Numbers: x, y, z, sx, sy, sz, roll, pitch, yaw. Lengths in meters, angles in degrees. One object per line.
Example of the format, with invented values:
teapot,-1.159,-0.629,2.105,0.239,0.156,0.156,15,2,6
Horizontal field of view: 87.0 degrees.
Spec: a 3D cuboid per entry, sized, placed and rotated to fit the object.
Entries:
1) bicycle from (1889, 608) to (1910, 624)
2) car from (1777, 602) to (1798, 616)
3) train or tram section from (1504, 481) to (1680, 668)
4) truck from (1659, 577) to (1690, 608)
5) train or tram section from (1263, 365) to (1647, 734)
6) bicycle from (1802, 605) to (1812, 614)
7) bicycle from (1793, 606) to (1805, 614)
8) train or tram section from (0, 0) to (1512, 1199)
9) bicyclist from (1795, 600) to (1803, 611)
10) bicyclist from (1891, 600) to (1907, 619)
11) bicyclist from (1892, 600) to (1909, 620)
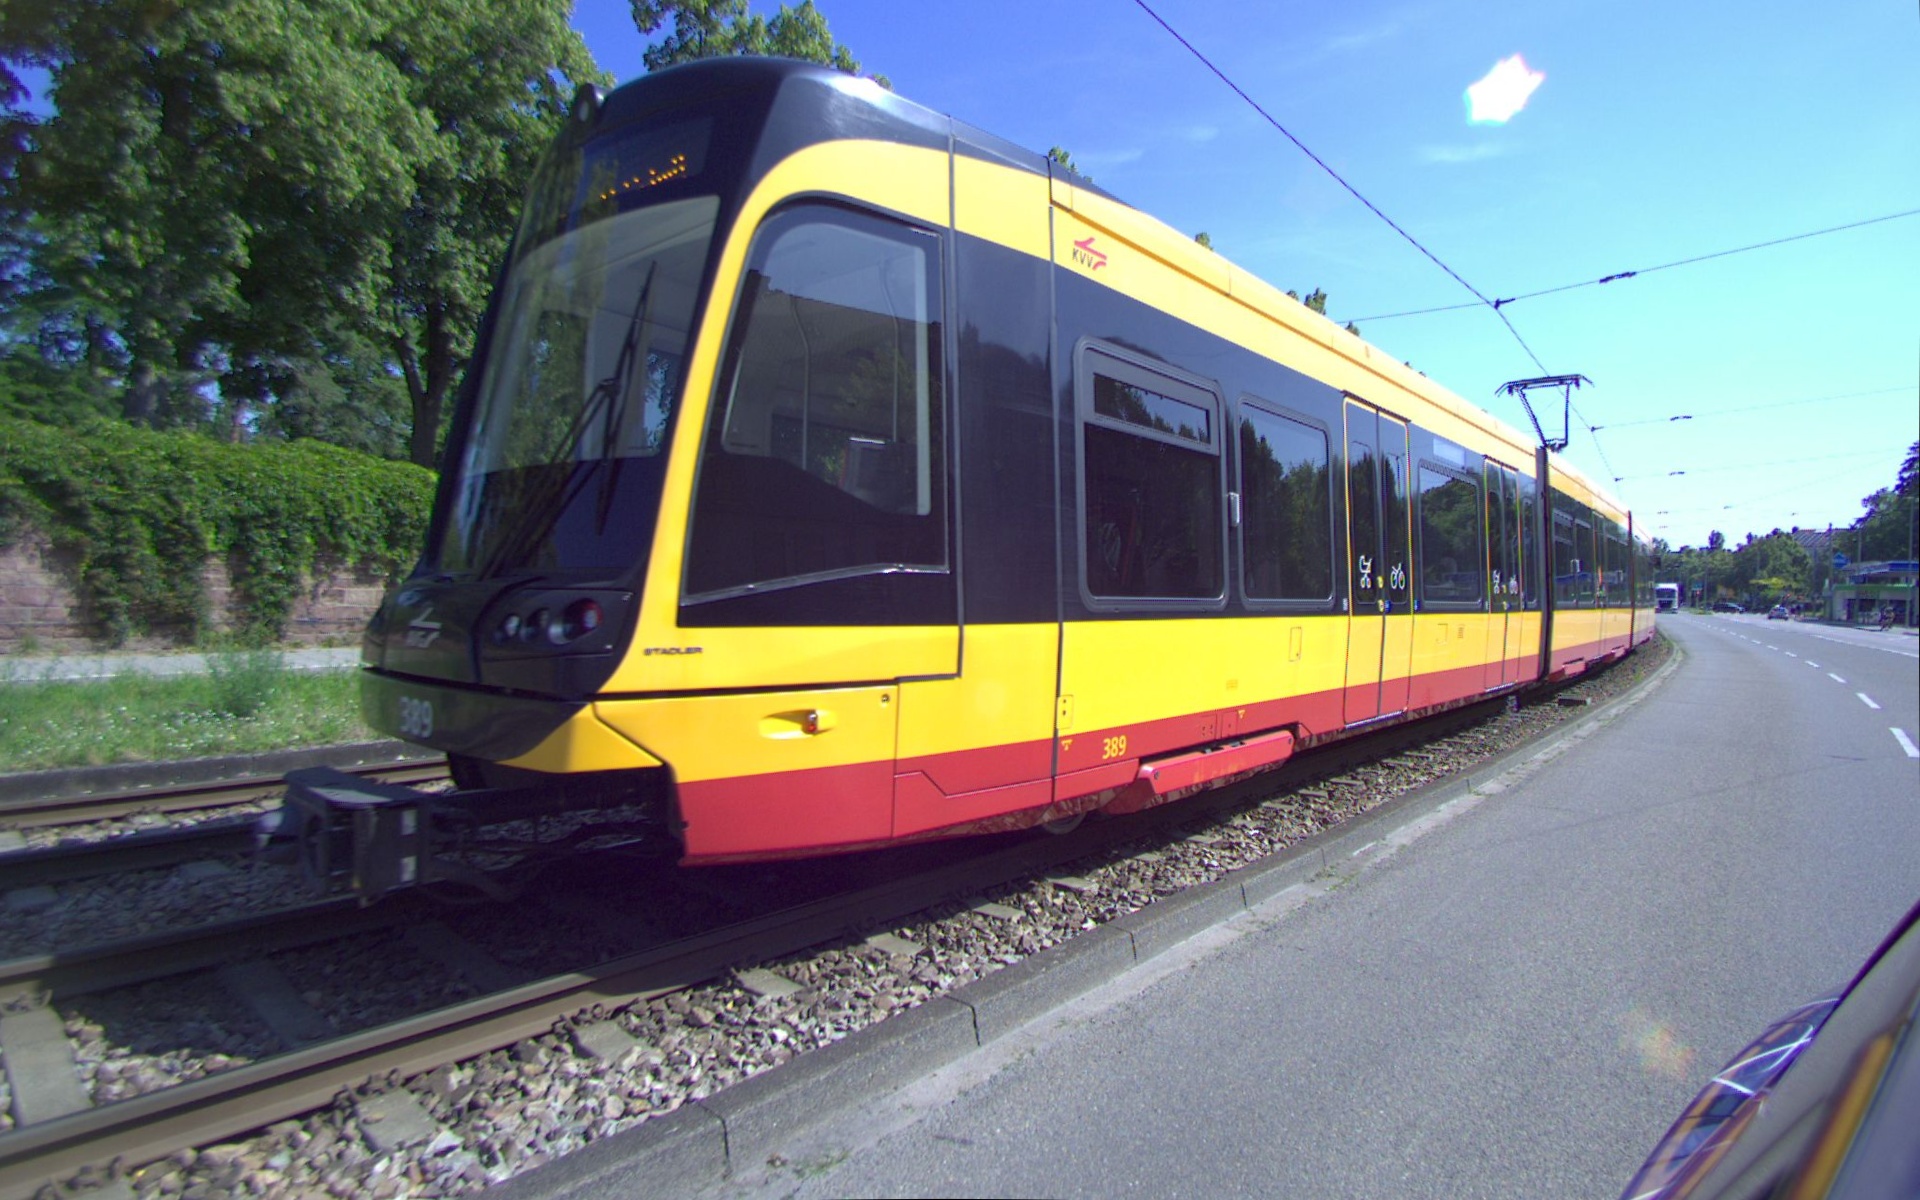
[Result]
bicycle,71.412,1.189,76.921,0.823,1.108,2.736,2,1,36
car,93.645,0.972,114.561,1.656,1.438,4.251,3,2,38
train or tram section,16.907,-0.584,26.474,2.506,3.793,13.127,2,1,38
truck,97.994,-0.974,138.683,2.839,4.057,14.111,2,1,37
train or tram section,8.766,-0.570,16.277,2.508,3.793,13.119,2,1,39
bicycle,116.763,1.318,139.527,0.935,1.190,2.182,2,1,36
bicycle,114.909,1.388,138.690,0.745,1.071,2.057,2,1,25
train or tram section,0.470,-0.562,6.434,2.509,3.793,13.112,2,1,41
bicyclist,114.816,0.742,138.548,0.703,1.439,0.732,1,-1,26
bicyclist,71.851,0.732,77.443,0.845,1.454,0.821,1,0,38
bicyclist,71.382,0.737,76.846,0.845,1.453,0.821,2,1,39
